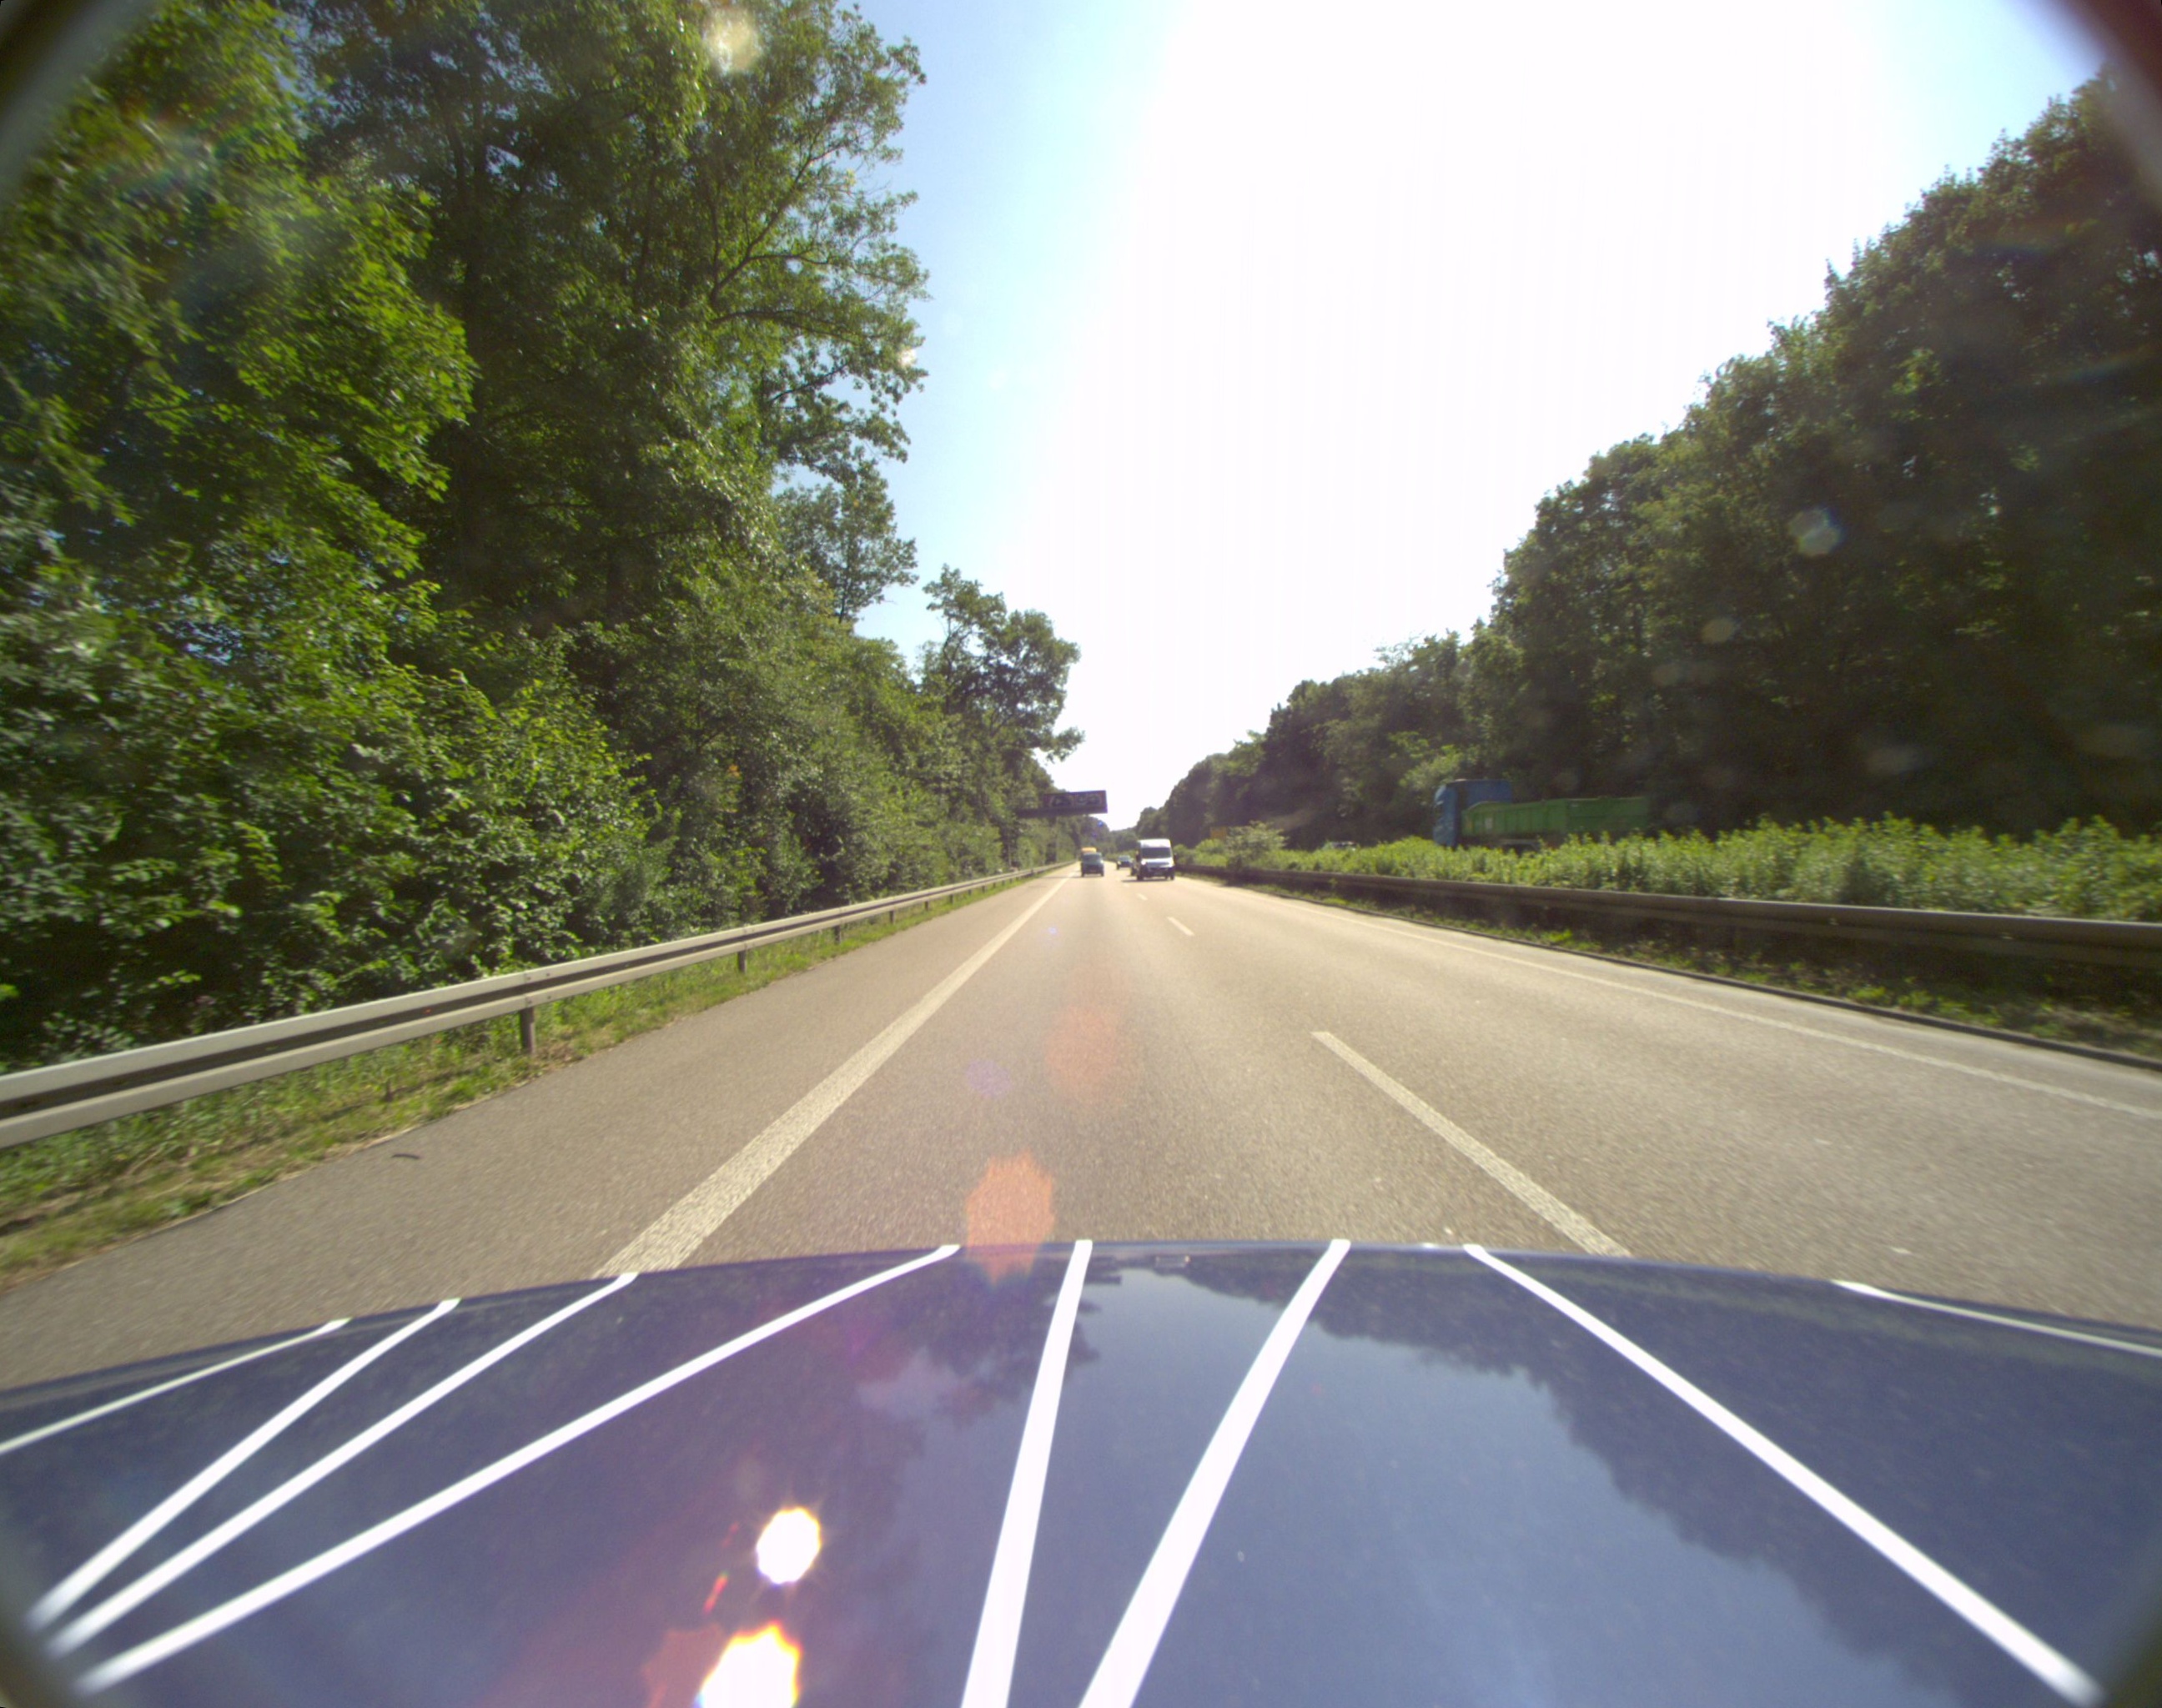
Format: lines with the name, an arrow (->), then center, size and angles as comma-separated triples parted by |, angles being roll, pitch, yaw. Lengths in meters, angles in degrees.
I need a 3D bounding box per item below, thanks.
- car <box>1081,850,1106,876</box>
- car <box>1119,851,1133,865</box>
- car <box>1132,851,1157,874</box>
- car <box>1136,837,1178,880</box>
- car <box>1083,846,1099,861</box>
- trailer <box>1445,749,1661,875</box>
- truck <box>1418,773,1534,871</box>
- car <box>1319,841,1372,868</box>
car -> 0.993, 0.677, 59.420 | 1.812, 1.921, 4.581 | -2, 0, 1
car -> 5.225, 0.443, 88.704 | 1.517, 1.624, 3.611 | -2, 0, 1
car -> 4.955, 0.648, 59.781 | 1.666, 1.624, 3.644 | -2, 0, 1
car -> 4.596, 0.265, 46.345 | 2.046, 2.429, 4.638 | -2, 0, 1
car -> 1.182, -0.089, 87.829 | 1.737, 1.624, 3.899 | -2, 0, 1
trailer -> 16.092, -1.278, 26.821 | 2.695, 3.690, 7.984 | -2, 0, 1
truck -> 16.152, -1.237, 31.379 | 2.652, 3.684, 4.000 | -2, 1, 1
car -> 16.666, 0.059, 48.126 | 1.697, 1.652, 4.714 | 0, -1, 0
